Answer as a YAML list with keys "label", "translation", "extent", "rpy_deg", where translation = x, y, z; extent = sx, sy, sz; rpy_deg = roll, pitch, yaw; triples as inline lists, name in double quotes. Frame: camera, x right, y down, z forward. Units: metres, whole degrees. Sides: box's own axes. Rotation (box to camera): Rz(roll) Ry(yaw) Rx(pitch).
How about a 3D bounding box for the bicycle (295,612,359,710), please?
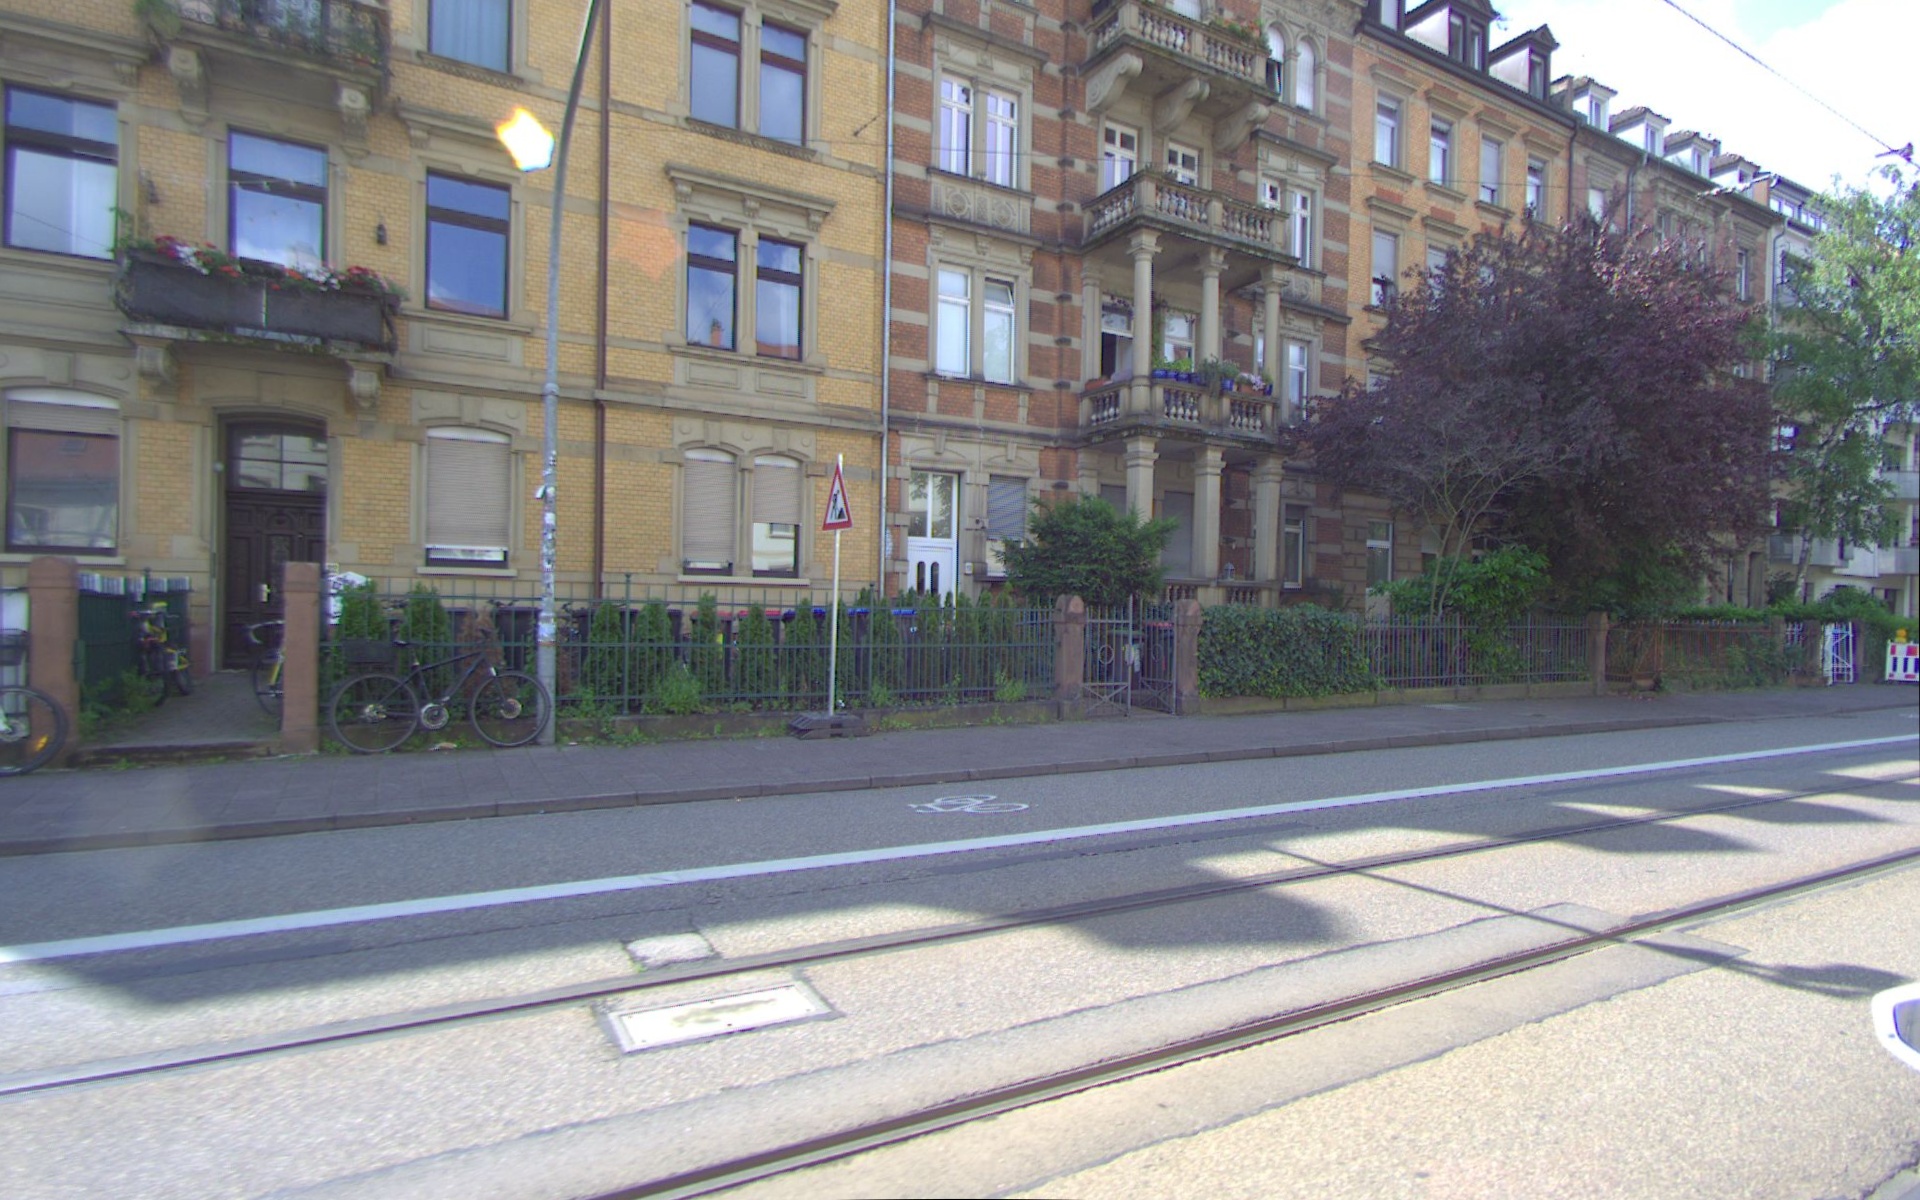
- label: "bicycle"
  translation: [-6.914, 0.624, 10.982]
  extent: [0.526, 0.959, 1.950]
  rpy_deg: [1, 0, -32]

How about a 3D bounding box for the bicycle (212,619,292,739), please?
- label: "bicycle"
  translation: [-6.507, 0.675, 9.287]
  extent: [0.526, 0.959, 1.949]
  rpy_deg: [1, 0, -34]

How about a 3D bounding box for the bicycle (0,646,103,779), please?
- label: "bicycle"
  translation: [-7.610, 0.828, 7.357]
  extent: [1.945, 0.959, 0.527]
  rpy_deg: [1, 0, -30]

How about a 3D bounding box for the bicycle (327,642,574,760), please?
- label: "bicycle"
  translation: [-4.582, 0.876, 9.129]
  extent: [1.945, 0.959, 0.527]
  rpy_deg: [1, 0, -30]

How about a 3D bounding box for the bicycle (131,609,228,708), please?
- label: "bicycle"
  translation: [-8.424, 0.590, 10.904]
  extent: [0.525, 0.959, 1.953]
  rpy_deg: [1, 0, -29]
